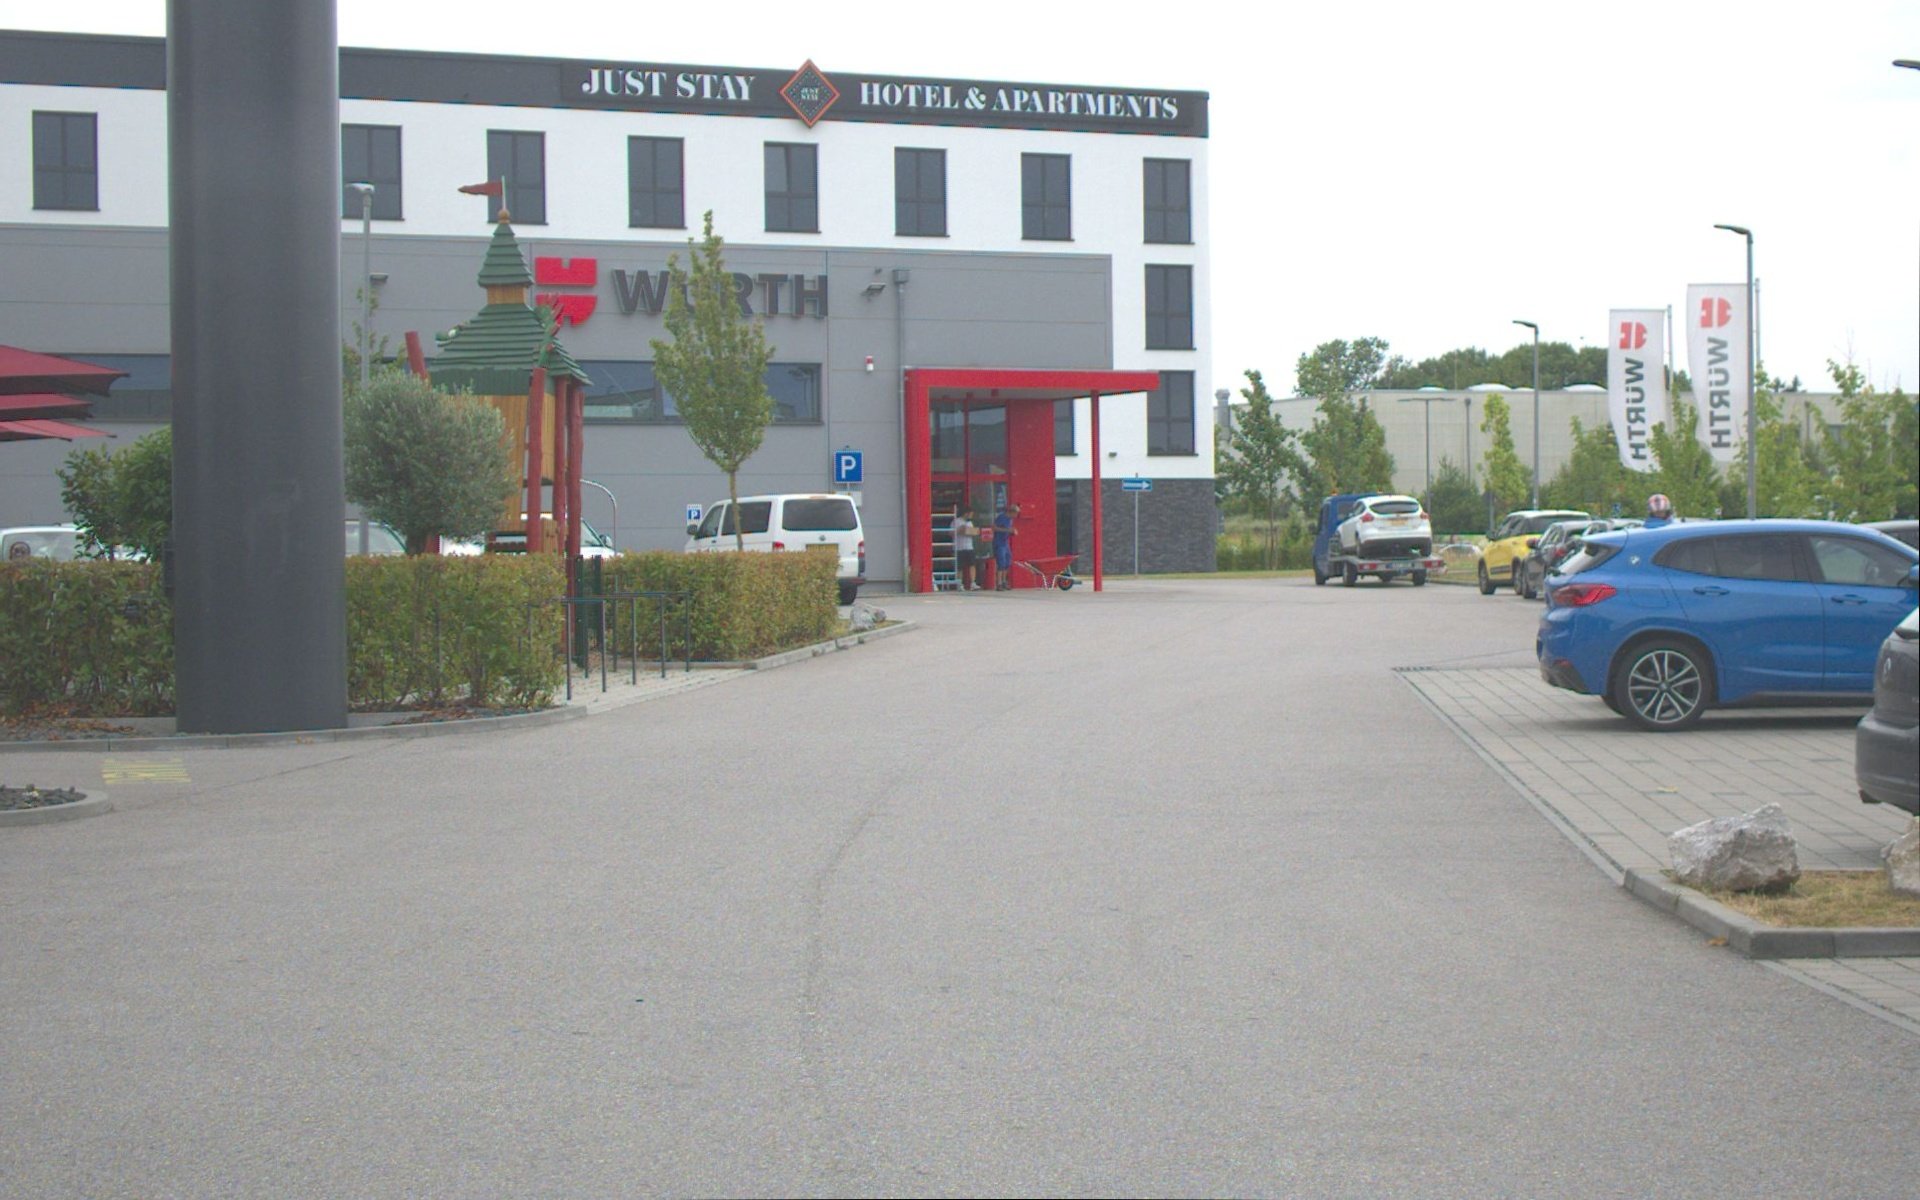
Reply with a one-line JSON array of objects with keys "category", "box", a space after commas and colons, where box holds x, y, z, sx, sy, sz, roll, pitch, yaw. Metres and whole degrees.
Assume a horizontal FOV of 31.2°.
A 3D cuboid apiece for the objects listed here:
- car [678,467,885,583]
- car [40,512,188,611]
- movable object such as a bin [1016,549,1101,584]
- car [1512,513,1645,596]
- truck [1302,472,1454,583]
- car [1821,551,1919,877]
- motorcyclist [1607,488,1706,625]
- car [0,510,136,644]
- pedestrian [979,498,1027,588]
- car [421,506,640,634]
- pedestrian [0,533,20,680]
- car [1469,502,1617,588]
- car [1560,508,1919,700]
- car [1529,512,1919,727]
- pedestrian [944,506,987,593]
[{"category": "car", "box": [-3.253, -1.329, 61.922, 2.055, 1.849, 4.062, -5, 2, -28]}, {"category": "car", "box": [-14.311, -0.635, 58.006, 1.736, 1.546, 4.265, -3, 1, -23]}, {"category": "movable object such as a bin", "box": [2.010, -0.691, 70.301, 1.488, 0.701, 0.965, 0, 1, -18]}, {"category": "car", "box": [11.173, -0.843, 62.325, 1.751, 1.464, 4.107, 0, 1, 1]}, {"category": "truck", "box": [10.286, -1.739, 85.281, 2.331, 2.398, 7.897, 0, -1, -4]}, {"category": "car", "box": [6.181, 0.517, 15.913, 3.987, 1.423, 1.727, 1, 1, 4]}, {"category": "motorcyclist", "box": [7.716, -0.479, 38.113, 0.938, 1.483, 0.830, -1, 1, 2]}, {"category": "car", "box": [-12.410, -0.307, 46.187, 1.993, 1.645, 4.579, -3, 1, -20]}, {"category": "pedestrian", "box": [0.868, -1.155, 69.813, 0.676, 1.796, 0.880, 1, 1, -18]}, {"category": "car", "box": [-6.105, -0.425, 48.448, 1.993, 1.645, 4.579, -3, 1, -20]}, {"category": "pedestrian", "box": [-8.015, 0.057, 28.364, 0.419, 1.195, 0.457, -2, 1, -10]}, {"category": "car", "box": [11.614, -1.086, 68.707, 1.856, 1.644, 4.001, 1, 1, -7]}, {"category": "car", "box": [7.045, 0.007, 28.269, 4.062, 1.454, 1.776, -1, 2, 7]}, {"category": "car", "box": [6.445, 0.120, 25.717, 4.203, 1.539, 1.864, 0, 1, 6]}, {"category": "pedestrian", "box": [0.112, -1.025, 69.530, 0.623, 1.745, 0.906, -1, 1, -16]}]
